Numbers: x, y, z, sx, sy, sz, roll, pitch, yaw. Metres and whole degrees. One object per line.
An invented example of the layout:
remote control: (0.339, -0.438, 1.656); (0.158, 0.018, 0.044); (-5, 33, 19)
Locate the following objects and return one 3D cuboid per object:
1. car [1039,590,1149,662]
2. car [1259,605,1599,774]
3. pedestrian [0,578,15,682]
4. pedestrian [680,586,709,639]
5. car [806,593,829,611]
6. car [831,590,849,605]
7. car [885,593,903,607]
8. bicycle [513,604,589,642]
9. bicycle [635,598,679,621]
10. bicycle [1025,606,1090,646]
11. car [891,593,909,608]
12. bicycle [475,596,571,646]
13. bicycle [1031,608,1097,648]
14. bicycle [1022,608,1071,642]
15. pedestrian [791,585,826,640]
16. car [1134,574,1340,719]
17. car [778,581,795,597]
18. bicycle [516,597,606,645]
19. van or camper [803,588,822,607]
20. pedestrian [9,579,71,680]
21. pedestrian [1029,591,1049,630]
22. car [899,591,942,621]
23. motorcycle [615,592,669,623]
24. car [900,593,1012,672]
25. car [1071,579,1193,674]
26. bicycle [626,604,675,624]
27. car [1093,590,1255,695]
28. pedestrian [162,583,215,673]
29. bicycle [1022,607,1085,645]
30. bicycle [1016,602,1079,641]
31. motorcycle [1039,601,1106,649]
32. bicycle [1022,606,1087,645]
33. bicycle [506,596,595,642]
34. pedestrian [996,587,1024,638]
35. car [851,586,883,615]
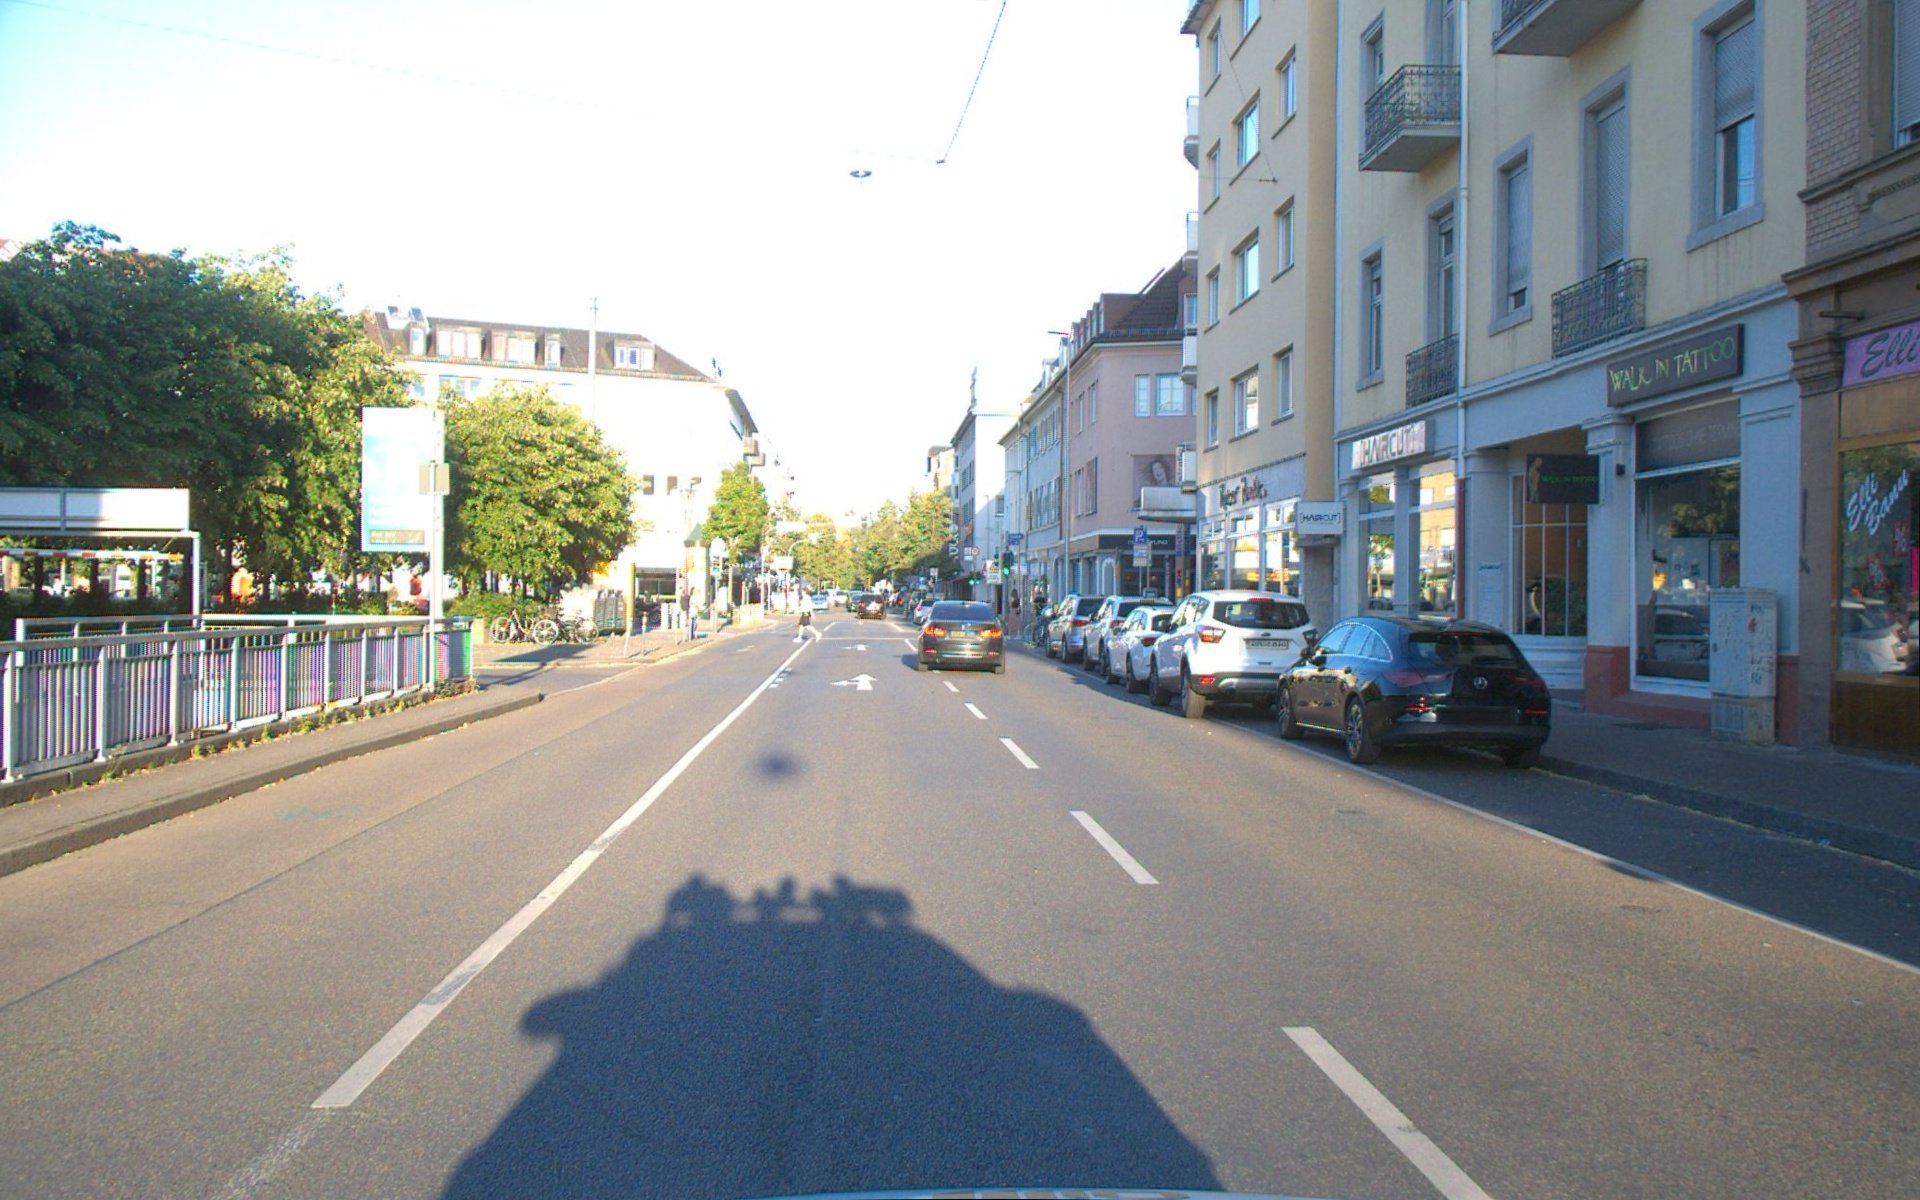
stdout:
car: (3.231, 0.600, 40.924); (1.954, 1.641, 4.799); (1, 0, -5)
car: (4.689, 0.820, 17.393); (1.954, 1.459, 4.847); (1, 0, -3)
pedestrian: (-18.534, 0.562, 31.329); (0.785, 1.982, 0.731); (1, 0, 9)
pedestrian: (-8.800, 0.409, 54.742); (0.867, 1.750, 0.712); (1, 0, -15)
car: (-13.217, 0.200, 153.284); (1.856, 1.624, 3.998); (1, 0, -2)
car: (-14.125, -0.290, 194.596); (1.953, 1.780, 3.998); (1, 0, -2)
car: (-7.873, -0.007, 198.051); (1.858, 1.624, 3.994); (1, 0, -6)
bicycle: (-11.818, 0.664, 47.810); (2.003, 0.988, 0.635); (3, 0, -6)
bicycle: (-15.958, 0.508, 87.232); (2.193, 1.155, 0.811); (0, 0, -6)
bicycle: (2.887, 0.769, 49.130); (1.848, 1.132, 0.520); (1, 0, -7)
car: (-6.762, 0.082, 185.511); (1.746, 1.624, 3.629); (1, 0, -6)
bicycle: (-11.893, 0.567, 45.021); (2.450, 1.306, 0.816); (1, 0, 17)
bicycle: (3.044, 0.808, 48.305); (1.848, 1.132, 0.592); (1, -2, -7)
bicycle: (2.724, 0.768, 52.028); (1.472, 1.044, 0.511); (0, 0, -8)
pedestrian: (-4.861, 0.402, 53.030); (0.859, 1.750, 0.752); (1, 0, -28)
car: (3.762, 0.557, 23.344); (1.845, 1.775, 4.656); (1, 2, -4)
car: (-22.252, -1.373, 212.294); (1.791, 2.049, 3.674); (1, 0, -2)
bicycle: (-11.231, 0.578, 46.578); (2.384, 1.259, 0.517); (2, 0, -6)
van or camper: (-19.950, -0.317, 223.355); (2.426, 2.447, 3.994); (1, 0, -7)
pedestrian: (-18.370, 0.573, 33.045); (0.785, 1.982, 0.731); (1, 0, 9)
pedestrian: (3.781, 0.495, 78.786); (0.743, 1.808, 1.046); (1, 0, -8)
car: (-2.265, 0.307, 94.280); (2.288, 1.632, 3.891); (1, 0, -3)
motorcycle: (-15.004, 0.365, 78.123); (2.365, 1.451, 1.112); (0, 0, -5)
car: (-0.140, 0.627, 34.218); (1.852, 1.518, 4.199); (1, 0, -6)
car: (3.564, 0.500, 34.992); (1.831, 1.792, 4.405); (1, 2, -4)
bicycle: (-15.194, 0.682, 81.269); (2.282, 0.935, 0.700); (0, 0, -6)
car: (3.657, 0.667, 29.117); (1.975, 1.570, 4.867); (1, 2, -3)
pedestrian: (-17.363, 0.619, 37.234); (0.785, 1.982, 0.731); (1, 0, 9)
bicycle: (2.905, 0.801, 51.440); (1.848, 1.132, 0.761); (1, 0, -7)
bicycle: (2.673, 0.663, 50.611); (1.848, 1.188, 0.722); (0, 0, -7)
motorcycle: (3.149, 0.692, 46.271); (1.777, 1.285, 0.715); (-1, 0, -6)
bicycle: (2.833, 0.760, 49.667); (1.848, 1.132, 0.601); (1, 0, -7)
bicycle: (-11.690, 0.551, 47.231); (2.384, 1.259, 0.462); (1, 0, -6)
pedestrian: (1.719, 0.423, 56.612); (0.780, 1.750, 0.810); (1, 0, -11)
car: (-5.955, 0.042, 105.588); (1.954, 1.780, 3.997); (1, 0, -3)
